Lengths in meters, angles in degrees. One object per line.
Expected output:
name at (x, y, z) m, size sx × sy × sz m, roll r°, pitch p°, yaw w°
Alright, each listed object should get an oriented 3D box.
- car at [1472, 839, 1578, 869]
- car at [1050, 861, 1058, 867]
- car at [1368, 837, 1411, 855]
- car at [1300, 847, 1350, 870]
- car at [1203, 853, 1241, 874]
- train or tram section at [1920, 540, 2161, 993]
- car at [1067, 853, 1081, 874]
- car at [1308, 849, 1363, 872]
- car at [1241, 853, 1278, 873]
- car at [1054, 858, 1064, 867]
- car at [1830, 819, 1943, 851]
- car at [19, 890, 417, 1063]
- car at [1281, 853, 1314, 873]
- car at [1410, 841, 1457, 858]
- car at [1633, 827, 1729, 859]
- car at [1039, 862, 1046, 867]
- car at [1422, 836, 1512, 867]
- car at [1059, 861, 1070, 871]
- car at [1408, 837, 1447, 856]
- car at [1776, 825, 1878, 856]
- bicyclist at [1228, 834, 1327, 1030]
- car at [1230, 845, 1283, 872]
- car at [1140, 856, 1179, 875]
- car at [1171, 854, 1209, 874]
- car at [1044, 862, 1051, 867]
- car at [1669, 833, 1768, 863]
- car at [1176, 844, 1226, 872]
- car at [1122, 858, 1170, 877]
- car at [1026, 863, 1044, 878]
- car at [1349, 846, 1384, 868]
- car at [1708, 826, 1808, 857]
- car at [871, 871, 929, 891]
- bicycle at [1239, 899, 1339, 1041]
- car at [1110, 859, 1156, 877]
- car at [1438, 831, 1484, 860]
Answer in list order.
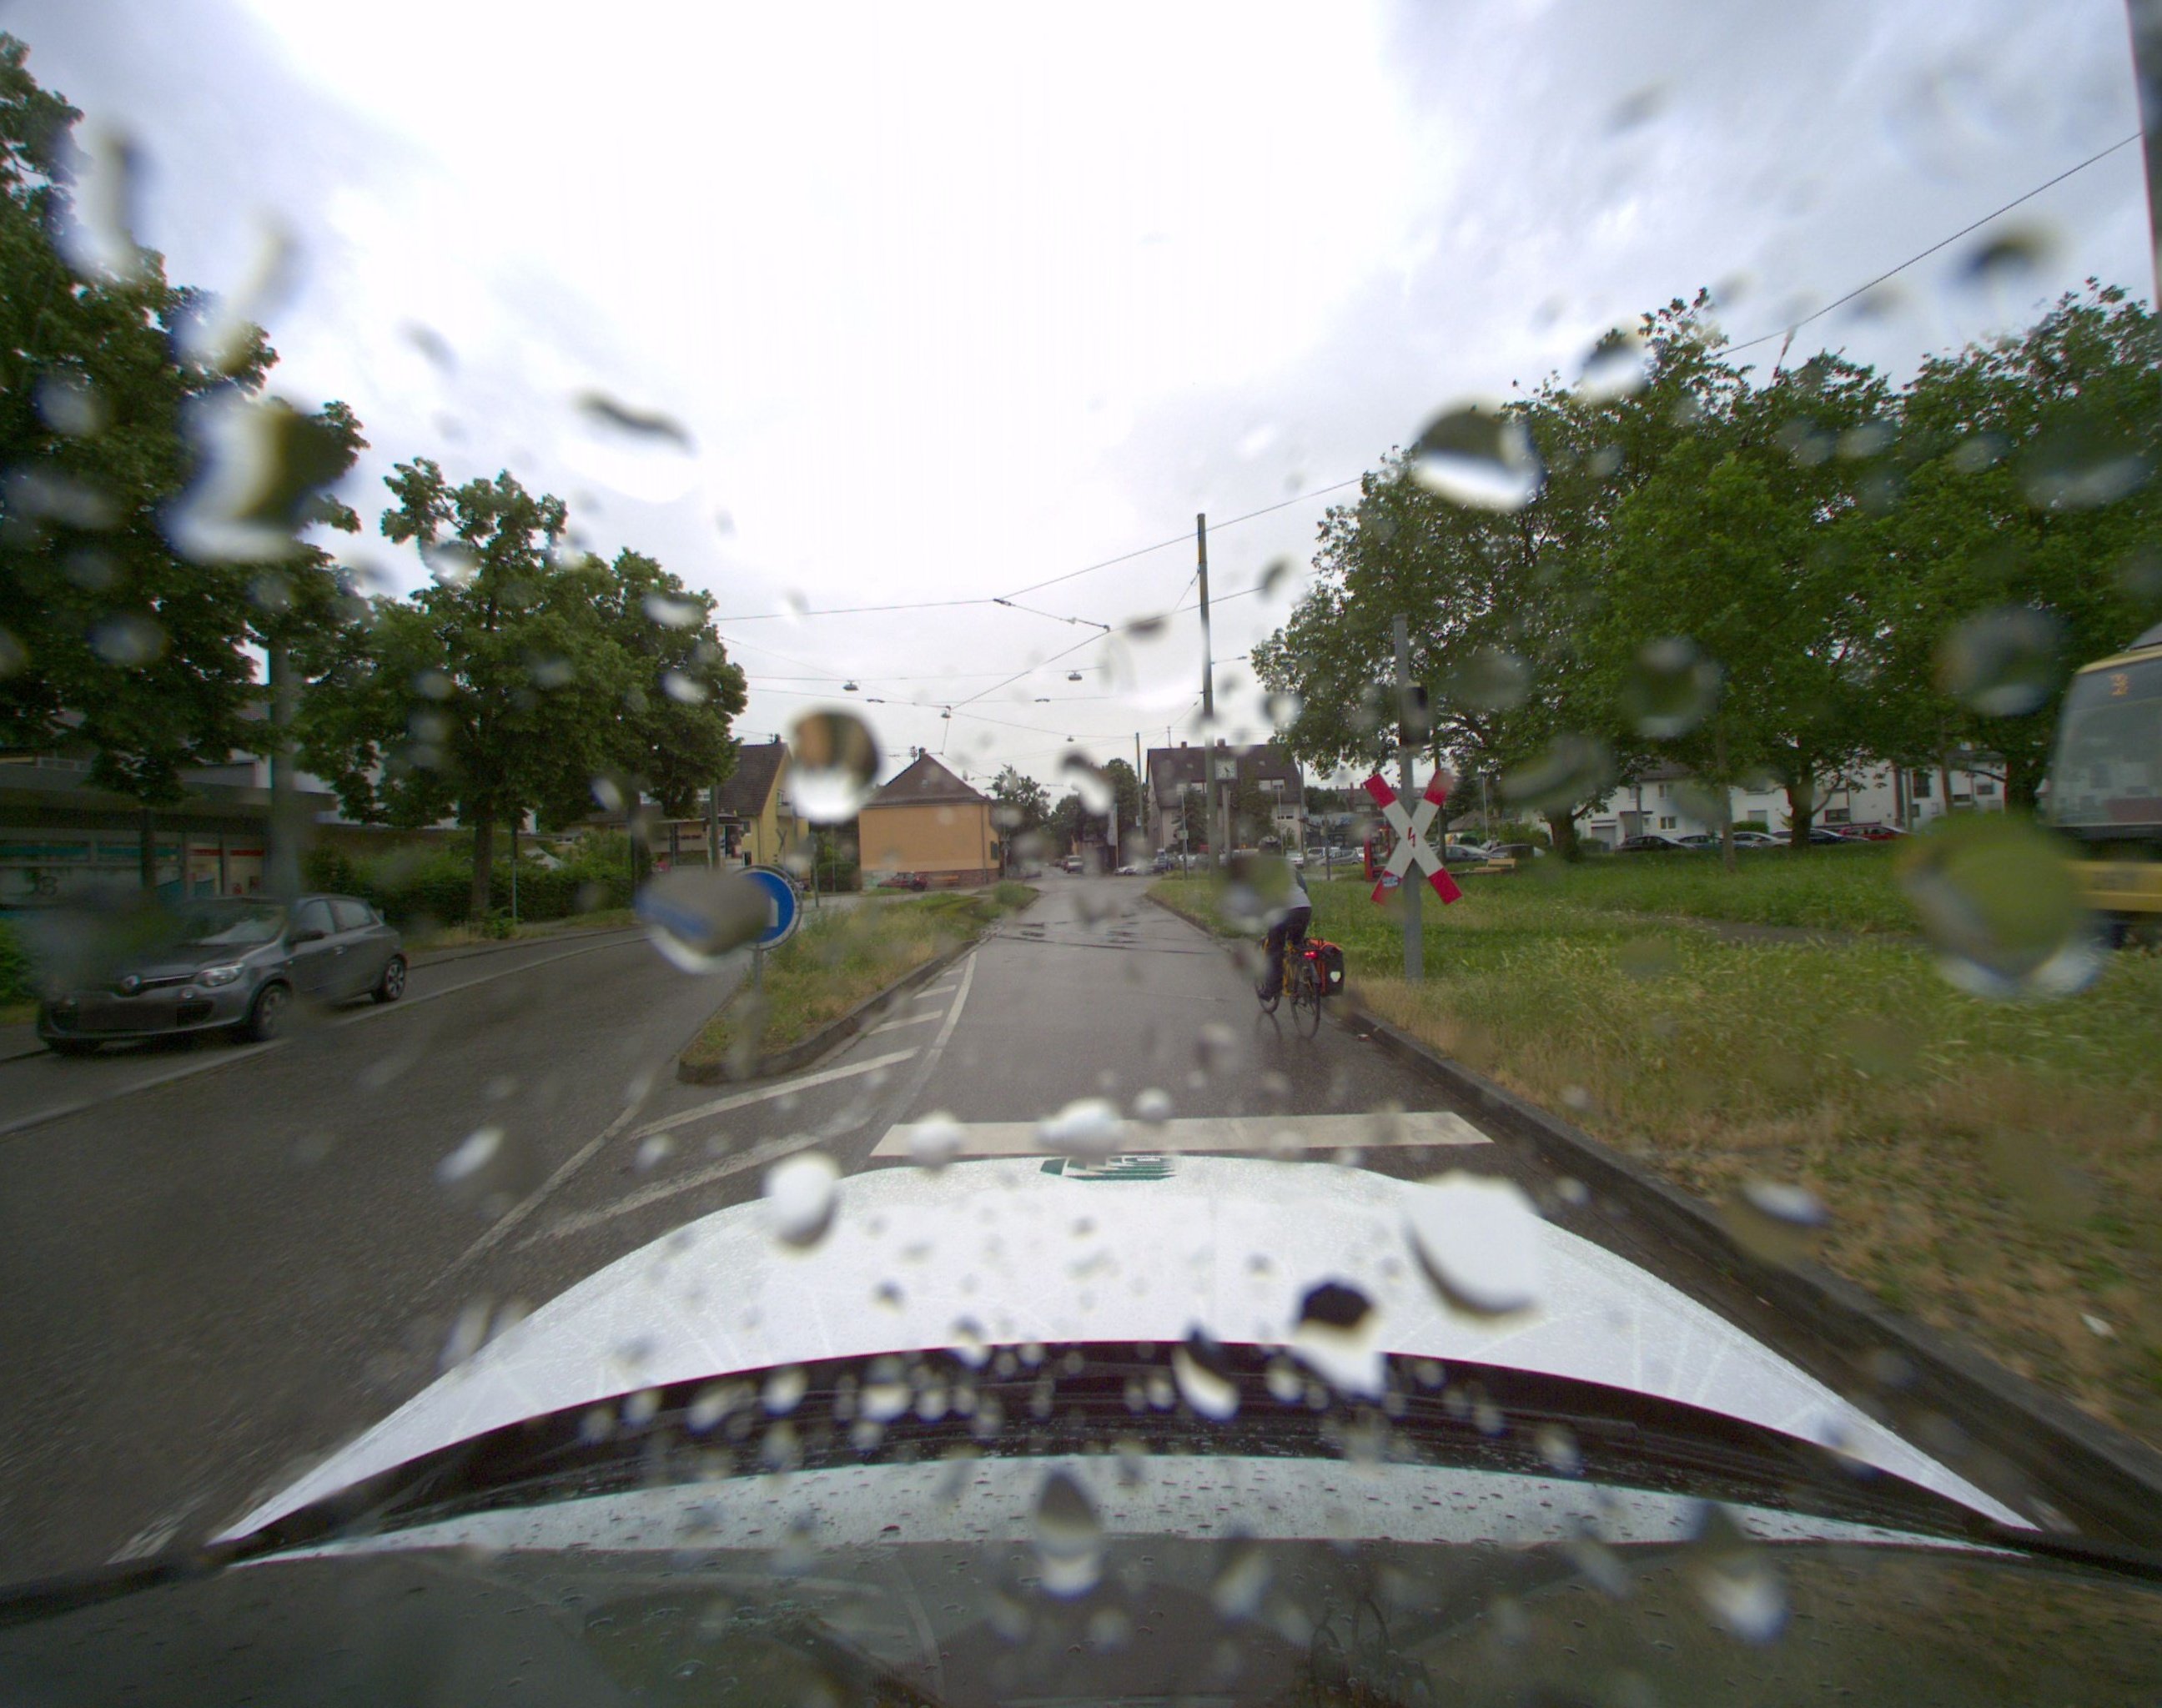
car at (20.581, 0.014, 37.909) m, size 3.963 × 1.285 × 1.851 m, roll -1°, pitch -1°, yaw 9°
car at (-6.993, 2.621, 209.467) m, size 1.799 × 1.564 × 3.999 m, roll -1°, pitch -1°, yaw 0°
car at (33.352, -0.869, 88.081) m, size 3.968 × 1.791 × 2.003 m, roll -1°, pitch -1°, yaw 5°
car at (22.020, 0.408, 73.584) m, size 3.974 × 1.951 × 2.000 m, roll -1°, pitch -1°, yaw 0°
car at (11.818, 0.797, 67.938) m, size 1.975 × 1.640 × 4.024 m, roll -1°, pitch -1°, yaw 27°
train or tram section at (15.031, -1.072, 6.231) m, size 13.019 × 3.553 × 2.775 m, roll -4°, pitch -1°, yaw 7°
car at (-0.933, 1.220, 106.014) m, size 1.799 × 2.627 × 3.999 m, roll -1°, pitch -1°, yaw 0°
car at (19.483, 0.528, 62.473) m, size 3.670 × 1.701 × 1.891 m, roll -1°, pitch -1°, yaw 2°
car at (14.934, 0.769, 68.071) m, size 1.975 × 1.640 × 4.024 m, roll -1°, pitch -1°, yaw 27°
car at (-4.387, 1.768, 162.752) m, size 1.799 × 1.811 × 3.999 m, roll -1°, pitch -1°, yaw 0°
car at (42.720, -0.973, 43.265) m, size 1.814 × 1.495 × 3.881 m, roll 0°, pitch -1°, yaw -26°
car at (-9.725, 1.235, 9.643) m, size 1.621 × 1.496 × 3.645 m, roll 0°, pitch -1°, yaw -17°
car at (18.168, 0.742, 68.372) m, size 1.823 × 1.640 × 4.024 m, roll -1°, pitch -1°, yaw 27°
car at (35.665, -0.443, 82.555) m, size 3.971 × 1.640 × 1.847 m, roll -1°, pitch -1°, yaw 2°
car at (30.818, -0.544, 41.945) m, size 3.865 × 1.495 × 1.822 m, roll -1°, pitch -1°, yaw 35°
car at (-11.041, 3.051, 232.035) m, size 1.799 × 1.461 × 3.999 m, roll -1°, pitch -1°, yaw 0°
car at (20.169, -0.091, 42.646) m, size 1.821 × 1.495 × 3.867 m, roll 0°, pitch -1°, yaw -44°
car at (-2.971, 2.114, 145.459) m, size 1.799 × 1.811 × 3.999 m, roll -1°, pitch -1°, yaw 0°
car at (39.397, -0.864, 92.639) m, size 1.998 × 2.014 × 3.978 m, roll 0°, pitch -1°, yaw -16°
car at (39.357, -0.658, 43.003) m, size 1.821 × 1.495 × 3.867 m, roll 0°, pitch -1°, yaw -44°
bicyclist at (1.715, 0.655, 7.207) m, size 0.665 × 1.626 × 0.853 m, roll -1°, pitch -1°, yaw 1°
car at (15.839, 0.413, 73.719) m, size 4.381 × 2.325 × 2.000 m, roll -1°, pitch -1°, yaw 0°
car at (6.851, 0.994, 70.490) m, size 1.975 × 1.640 × 4.024 m, roll -1°, pitch -1°, yaw 27°
car at (9.291, 0.841, 69.177) m, size 1.975 × 1.640 × 4.024 m, roll -1°, pitch -1°, yaw 27°
car at (-9.369, 2.955, 226.728) m, size 1.799 × 1.461 × 3.999 m, roll -1°, pitch -1°, yaw 0°
car at (33.296, -0.278, 42.604) m, size 1.821 × 1.495 × 3.867 m, roll 0°, pitch -1°, yaw -44°
car at (11.405, 0.392, 77.413) m, size 4.361 × 2.566 × 2.008 m, roll -1°, pitch -1°, yaw 16°
car at (5.932, 1.252, 74.605) m, size 4.015 × 1.675 × 1.979 m, roll 0°, pitch -1°, yaw -34°
car at (-5.316, 1.896, 93.772) m, size 1.799 × 1.651 × 3.999 m, roll -1°, pitch -1°, yaw 0°
car at (24.331, 0.303, 69.533) m, size 1.983 × 1.791 × 4.007 m, roll -1°, pitch -1°, yaw 6°
car at (35.800, -0.622, 43.128) m, size 1.821 × 1.495 × 3.867 m, roll 0°, pitch -1°, yaw -44°
car at (-13.493, 2.008, 60.852) m, size 3.979 × 1.456 × 1.831 m, roll 0°, pitch -1°, yaw -4°
bicycle at (1.811, 0.965, 7.303) m, size 0.444 × 1.004 × 1.728 m, roll -2°, pitch 0°, yaw 1°
car at (4.973, 1.308, 77.702) m, size 4.015 × 1.643 × 1.979 m, roll 0°, pitch -1°, yaw -34°
car at (32.908, -0.691, 70.614) m, size 1.986 × 2.443 × 4.354 m, roll -1°, pitch -1°, yaw 1°
